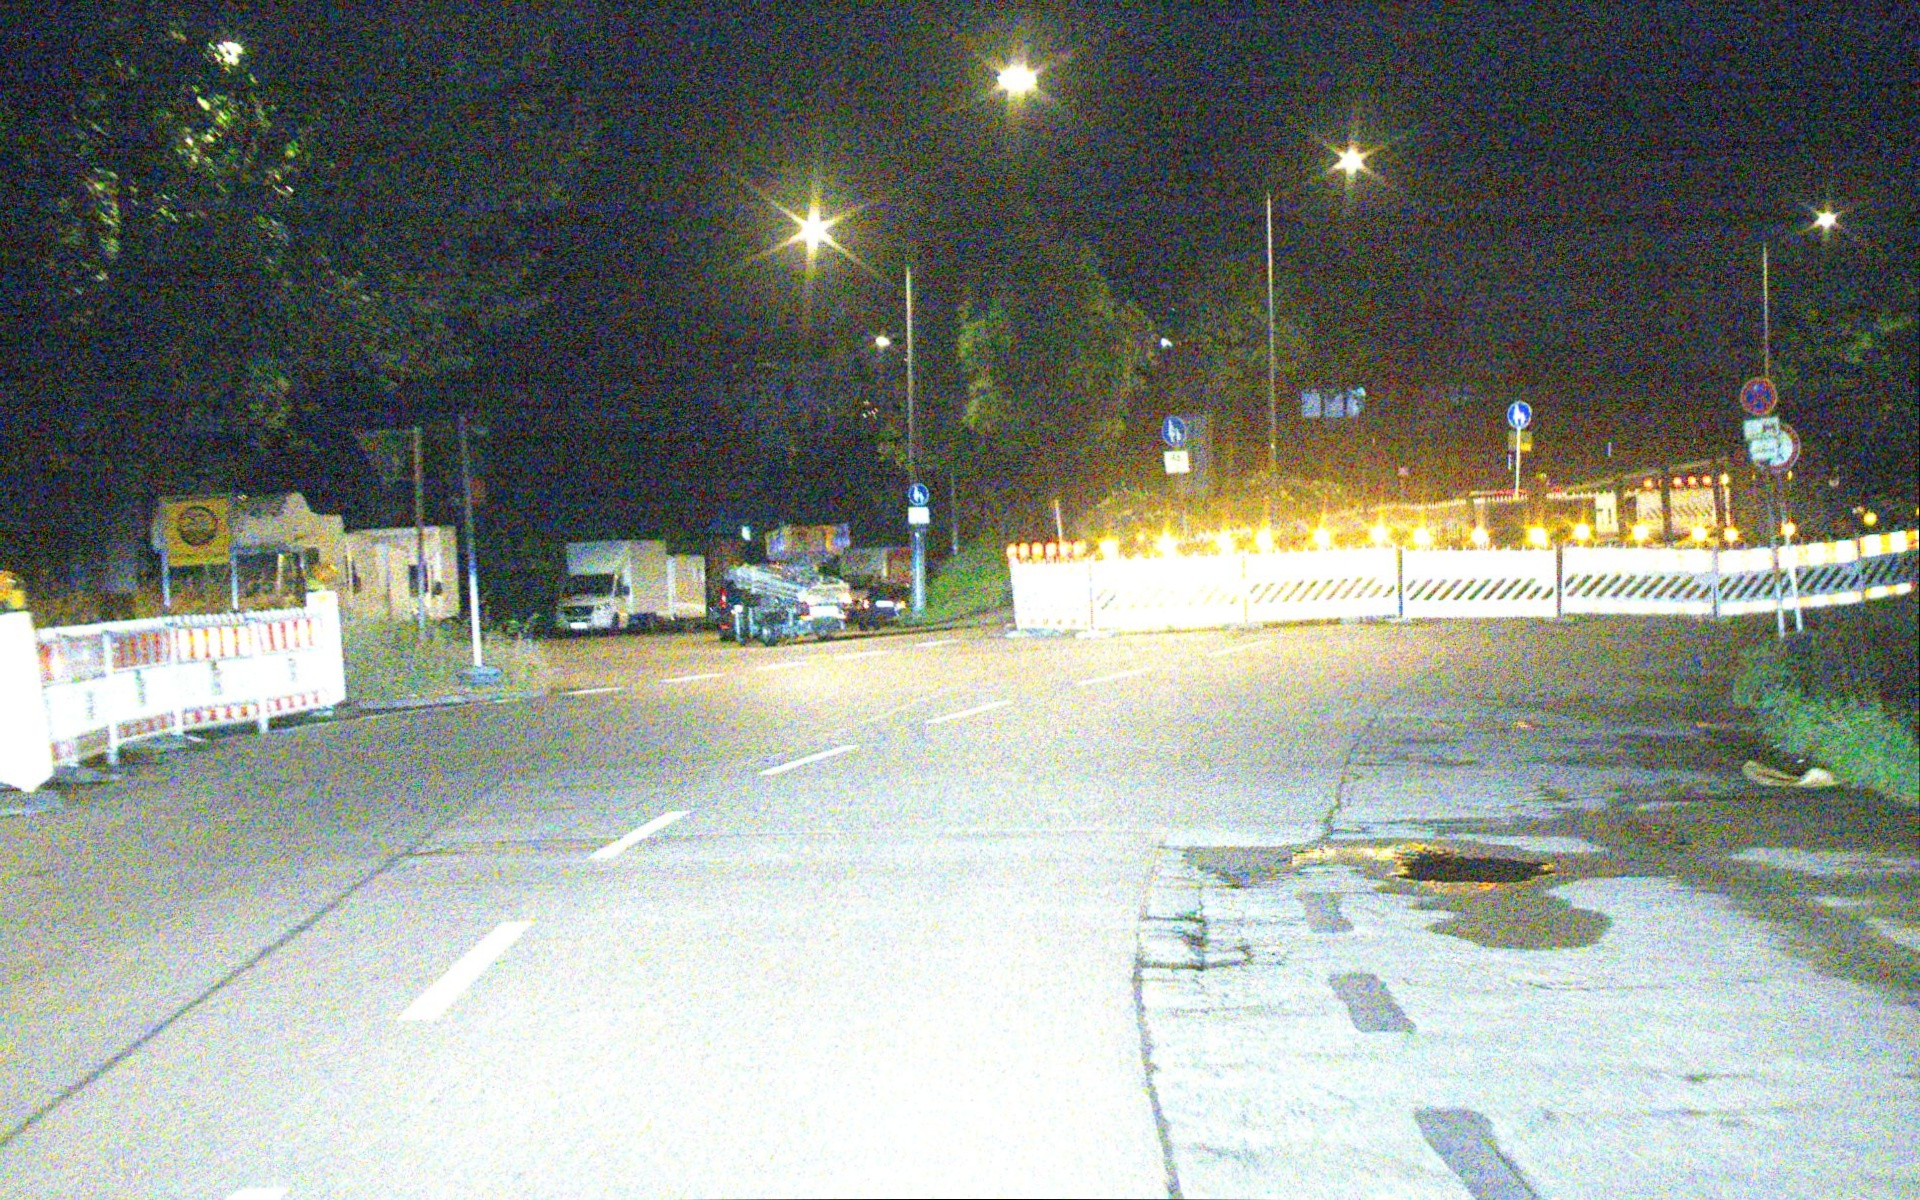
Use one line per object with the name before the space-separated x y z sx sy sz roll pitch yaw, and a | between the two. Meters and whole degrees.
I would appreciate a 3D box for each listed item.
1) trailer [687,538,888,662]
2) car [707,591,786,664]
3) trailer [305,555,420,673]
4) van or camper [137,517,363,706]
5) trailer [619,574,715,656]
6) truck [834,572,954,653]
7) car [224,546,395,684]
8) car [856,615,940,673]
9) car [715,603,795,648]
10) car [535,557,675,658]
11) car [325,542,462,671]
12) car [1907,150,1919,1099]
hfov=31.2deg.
trailer | -3.346 0.033 65.504 1.559 2.153 5.221 -3 -1 -30
car | -4.966 0.650 80.262 1.720 1.655 4.000 0 -1 -2
trailer | -13.503 0.307 77.927 1.993 2.519 3.568 -3 0 -2
van or camper | -12.695 0.202 62.064 2.519 3.084 7.445 -3 0 -1
trailer | -10.354 0.511 121.795 1.994 2.803 4.700 -1 0 12
truck | -2.834 0.481 150.997 1.996 3.392 8.969 0 1 21
car | -13.413 0.309 71.405 2.519 2.597 7.092 -3 0 -4
car | -1.932 1.401 108.814 1.721 1.815 3.997 -1 -1 13
car | -7.896 1.009 132.970 1.994 1.694 4.204 -1 -1 13
car | -11.834 0.210 115.249 2.520 3.160 7.134 -3 0 11
car | -13.969 0.171 85.183 2.519 2.917 7.202 -3 0 -4
car | 3.580 0.101 6.013 2.108 2.507 6.371 0 1 0
